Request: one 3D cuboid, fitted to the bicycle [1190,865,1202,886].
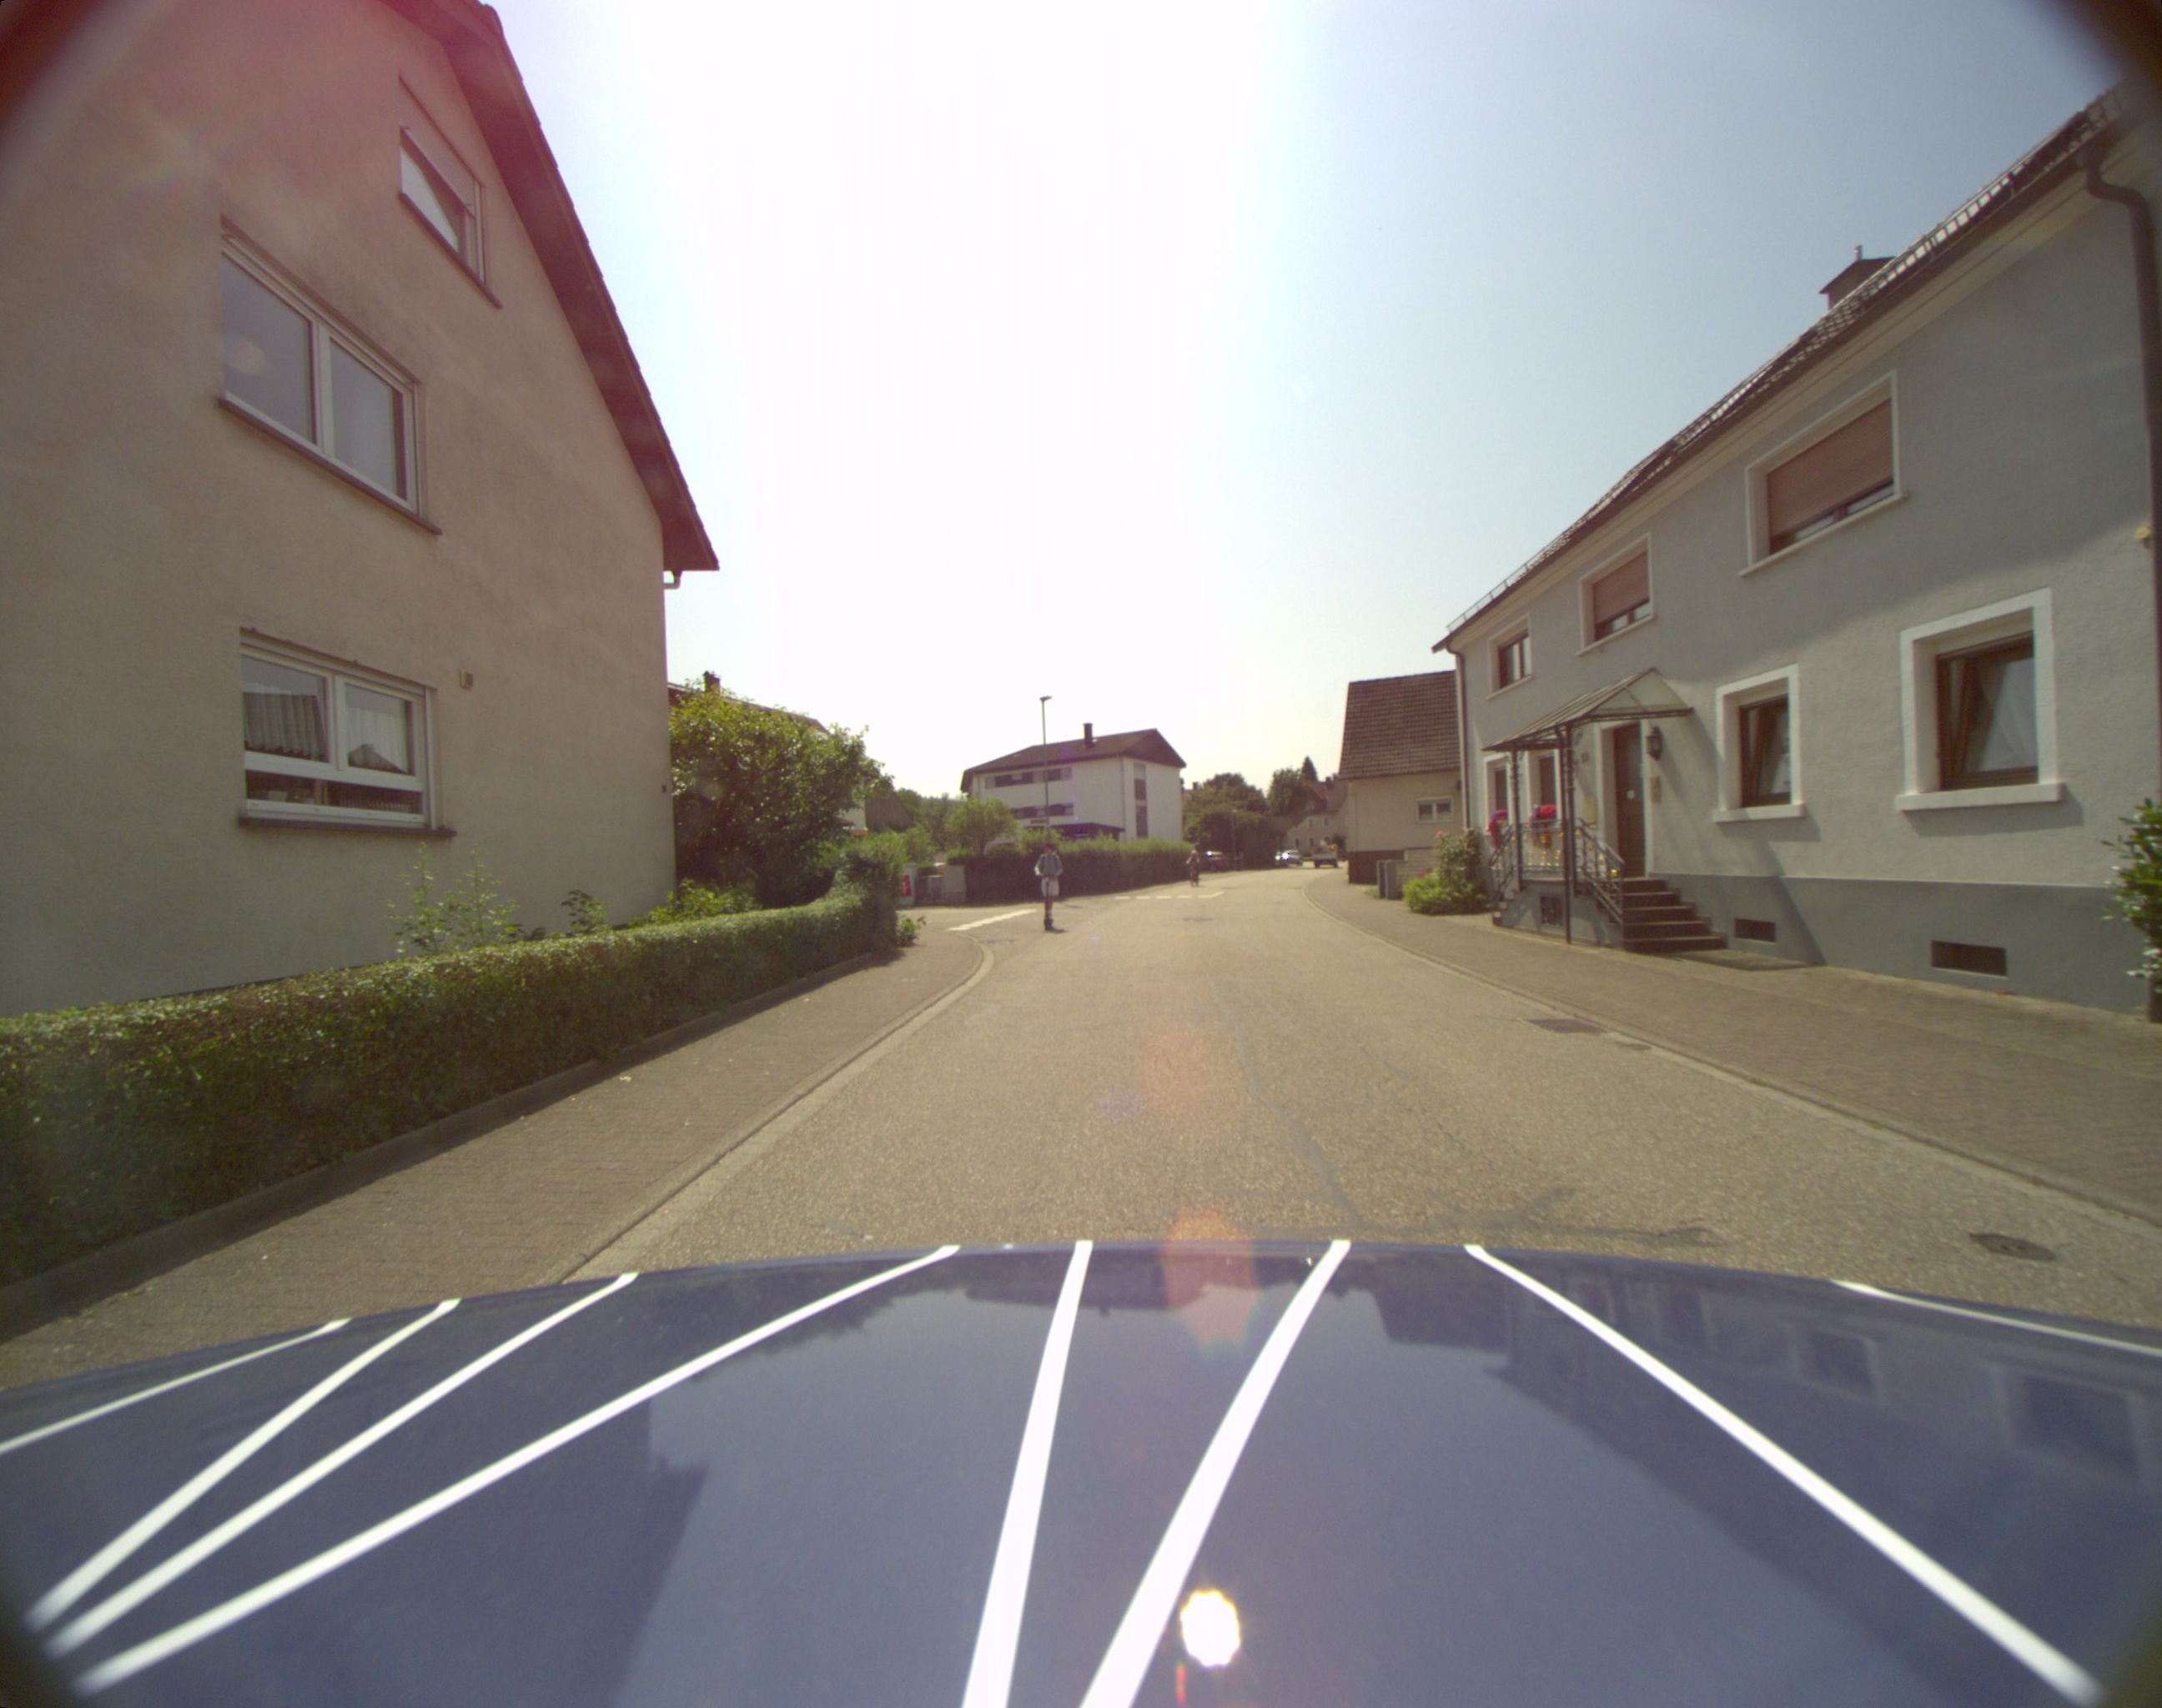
[{"bbox_3d":[5.462,1.014,36.038,0.521,0.898,1.314,-2,0,8],"label":"bicycle"}]

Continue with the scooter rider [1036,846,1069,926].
[{"bbox_3d":[-0.635,0.684,16.774,0.617,1.714,0.640,-2,1,-8],"label":"scooter rider"}]

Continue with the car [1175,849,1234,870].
[{"bbox_3d":[9.974,0.436,61.254,4.282,1.662,2.069,-1,1,26],"label":"car"}]

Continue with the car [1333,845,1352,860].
[{"bbox_3d":[34.496,-0.215,100.193,1.995,1.929,4.006,-1,0,23],"label":"car"}]

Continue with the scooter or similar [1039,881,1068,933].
[{"bbox_3d":[-0.615,1.153,16.779,0.543,1.083,0.691,-2,0,-8],"label":"scooter or similar"}]

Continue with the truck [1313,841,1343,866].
[{"bbox_3d":[22.543,-0.096,69.212,2.264,2.122,6.775,-1,0,21],"label":"truck"}]

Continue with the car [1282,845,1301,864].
[{"bbox_3d":[22.164,0.041,80.002,1.779,1.830,3.906,-1,0,17],"label":"car"}]

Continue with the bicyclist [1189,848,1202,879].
[{"bbox_3d":[5.457,0.447,36.168,0.547,1.481,0.797,-2,1,7],"label":"bicyclist"}]
